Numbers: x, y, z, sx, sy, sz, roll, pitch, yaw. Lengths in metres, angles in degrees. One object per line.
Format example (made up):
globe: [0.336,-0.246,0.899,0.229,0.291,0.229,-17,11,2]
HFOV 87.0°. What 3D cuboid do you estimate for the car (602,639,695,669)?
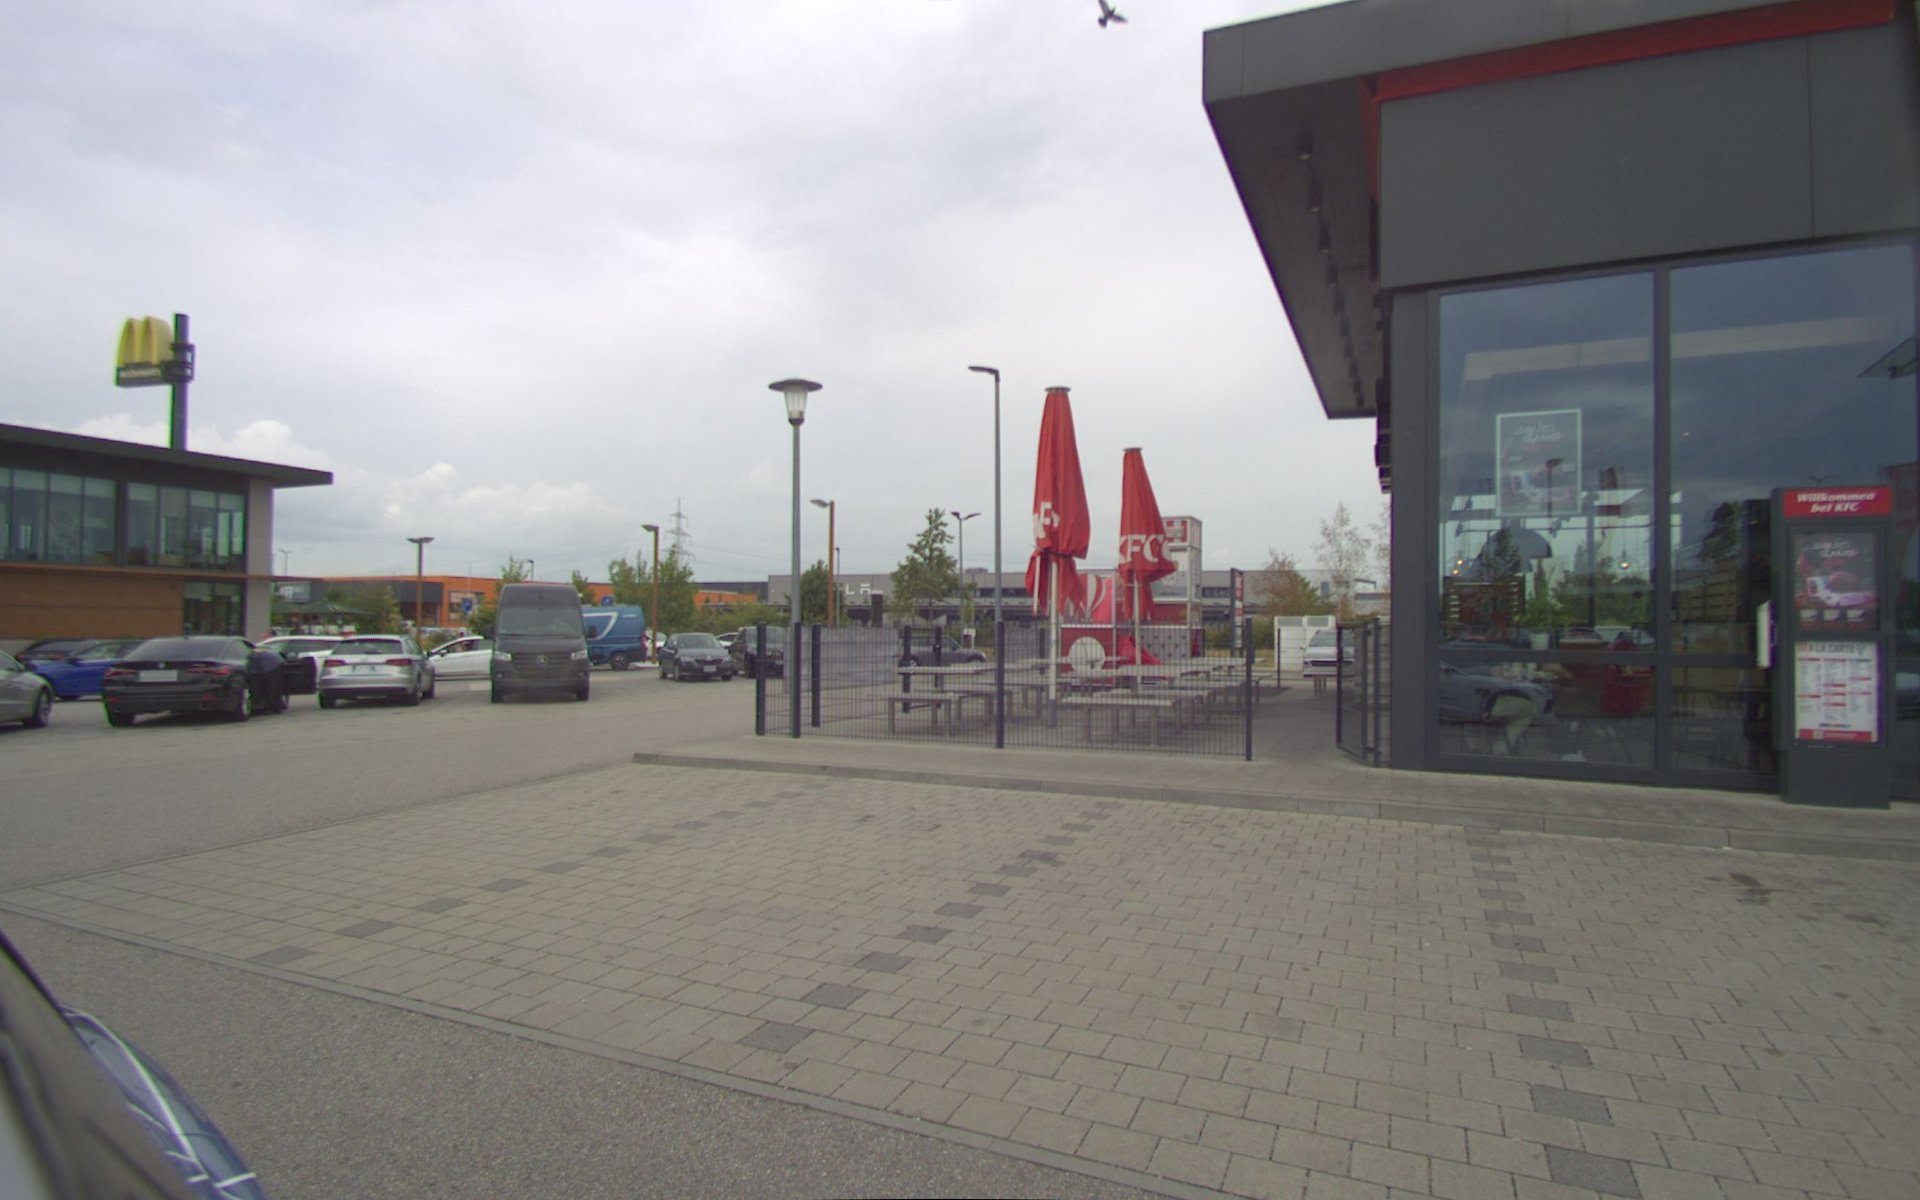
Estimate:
car: [-17.710,3.036,57.515,4.917,1.614,2.055,0,-2,26]

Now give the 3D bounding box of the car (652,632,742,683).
car: [-8.158,1.735,31.217,1.801,1.422,4.012,1,-2,-28]

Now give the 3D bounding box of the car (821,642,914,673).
car: [-4.737,2.895,51.753,4.434,1.470,1.817,-1,-2,27]

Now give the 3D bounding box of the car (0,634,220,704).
car: [-20.211,1.636,23.964,3.931,1.521,1.775,2,-4,-20]

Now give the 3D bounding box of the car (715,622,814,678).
car: [-6.665,1.682,34.097,1.965,1.741,4.912,2,-4,-27]

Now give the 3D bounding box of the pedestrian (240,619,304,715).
pedestrian: [-12.498,1.204,18.414,0.736,1.691,0.845,2,-3,-22]

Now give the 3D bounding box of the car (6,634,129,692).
car: [-29.648,2.064,33.773,1.865,1.674,4.273,3,-1,-25]

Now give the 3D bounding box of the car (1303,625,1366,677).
car: [11.737,1.574,31.583,1.619,1.516,4.135,-1,-3,23]

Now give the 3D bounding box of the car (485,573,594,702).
car: [-10.037,0.905,23.852,2.037,2.573,7.035,1,-3,-25]

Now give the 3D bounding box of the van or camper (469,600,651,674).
van or camper: [-15.466,1.423,39.609,6.461,2.721,2.179,0,-3,-17]

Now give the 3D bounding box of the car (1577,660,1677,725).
car: [18.726,2.533,28.600,1.575,1.629,4.450,-1,-3,23]

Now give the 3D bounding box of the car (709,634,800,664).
car: [-11.072,2.624,54.595,4.449,1.565,2.057,-1,-3,23]

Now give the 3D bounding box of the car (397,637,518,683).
car: [-16.677,1.988,33.782,3.512,1.465,1.848,1,-3,-23]

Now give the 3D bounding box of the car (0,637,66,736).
car: [-14.616,1.240,14.338,1.723,1.423,4.474,1,-3,-26]

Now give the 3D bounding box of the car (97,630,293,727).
car: [-13.166,1.308,17.726,1.658,1.474,4.421,1,-3,-23]

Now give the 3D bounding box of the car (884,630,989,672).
car: [-0.868,1.850,36.560,3.467,1.386,1.614,2,-4,-16]

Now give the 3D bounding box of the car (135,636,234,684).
car: [-28.436,2.173,37.229,1.759,1.498,4.013,3,-1,-21]

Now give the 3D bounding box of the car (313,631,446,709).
car: [-12.120,1.431,21.372,1.658,1.462,4.012,0,-3,-18]

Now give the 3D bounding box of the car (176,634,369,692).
car: [-18.501,1.702,27.472,4.040,1.478,1.786,1,-5,-25]
